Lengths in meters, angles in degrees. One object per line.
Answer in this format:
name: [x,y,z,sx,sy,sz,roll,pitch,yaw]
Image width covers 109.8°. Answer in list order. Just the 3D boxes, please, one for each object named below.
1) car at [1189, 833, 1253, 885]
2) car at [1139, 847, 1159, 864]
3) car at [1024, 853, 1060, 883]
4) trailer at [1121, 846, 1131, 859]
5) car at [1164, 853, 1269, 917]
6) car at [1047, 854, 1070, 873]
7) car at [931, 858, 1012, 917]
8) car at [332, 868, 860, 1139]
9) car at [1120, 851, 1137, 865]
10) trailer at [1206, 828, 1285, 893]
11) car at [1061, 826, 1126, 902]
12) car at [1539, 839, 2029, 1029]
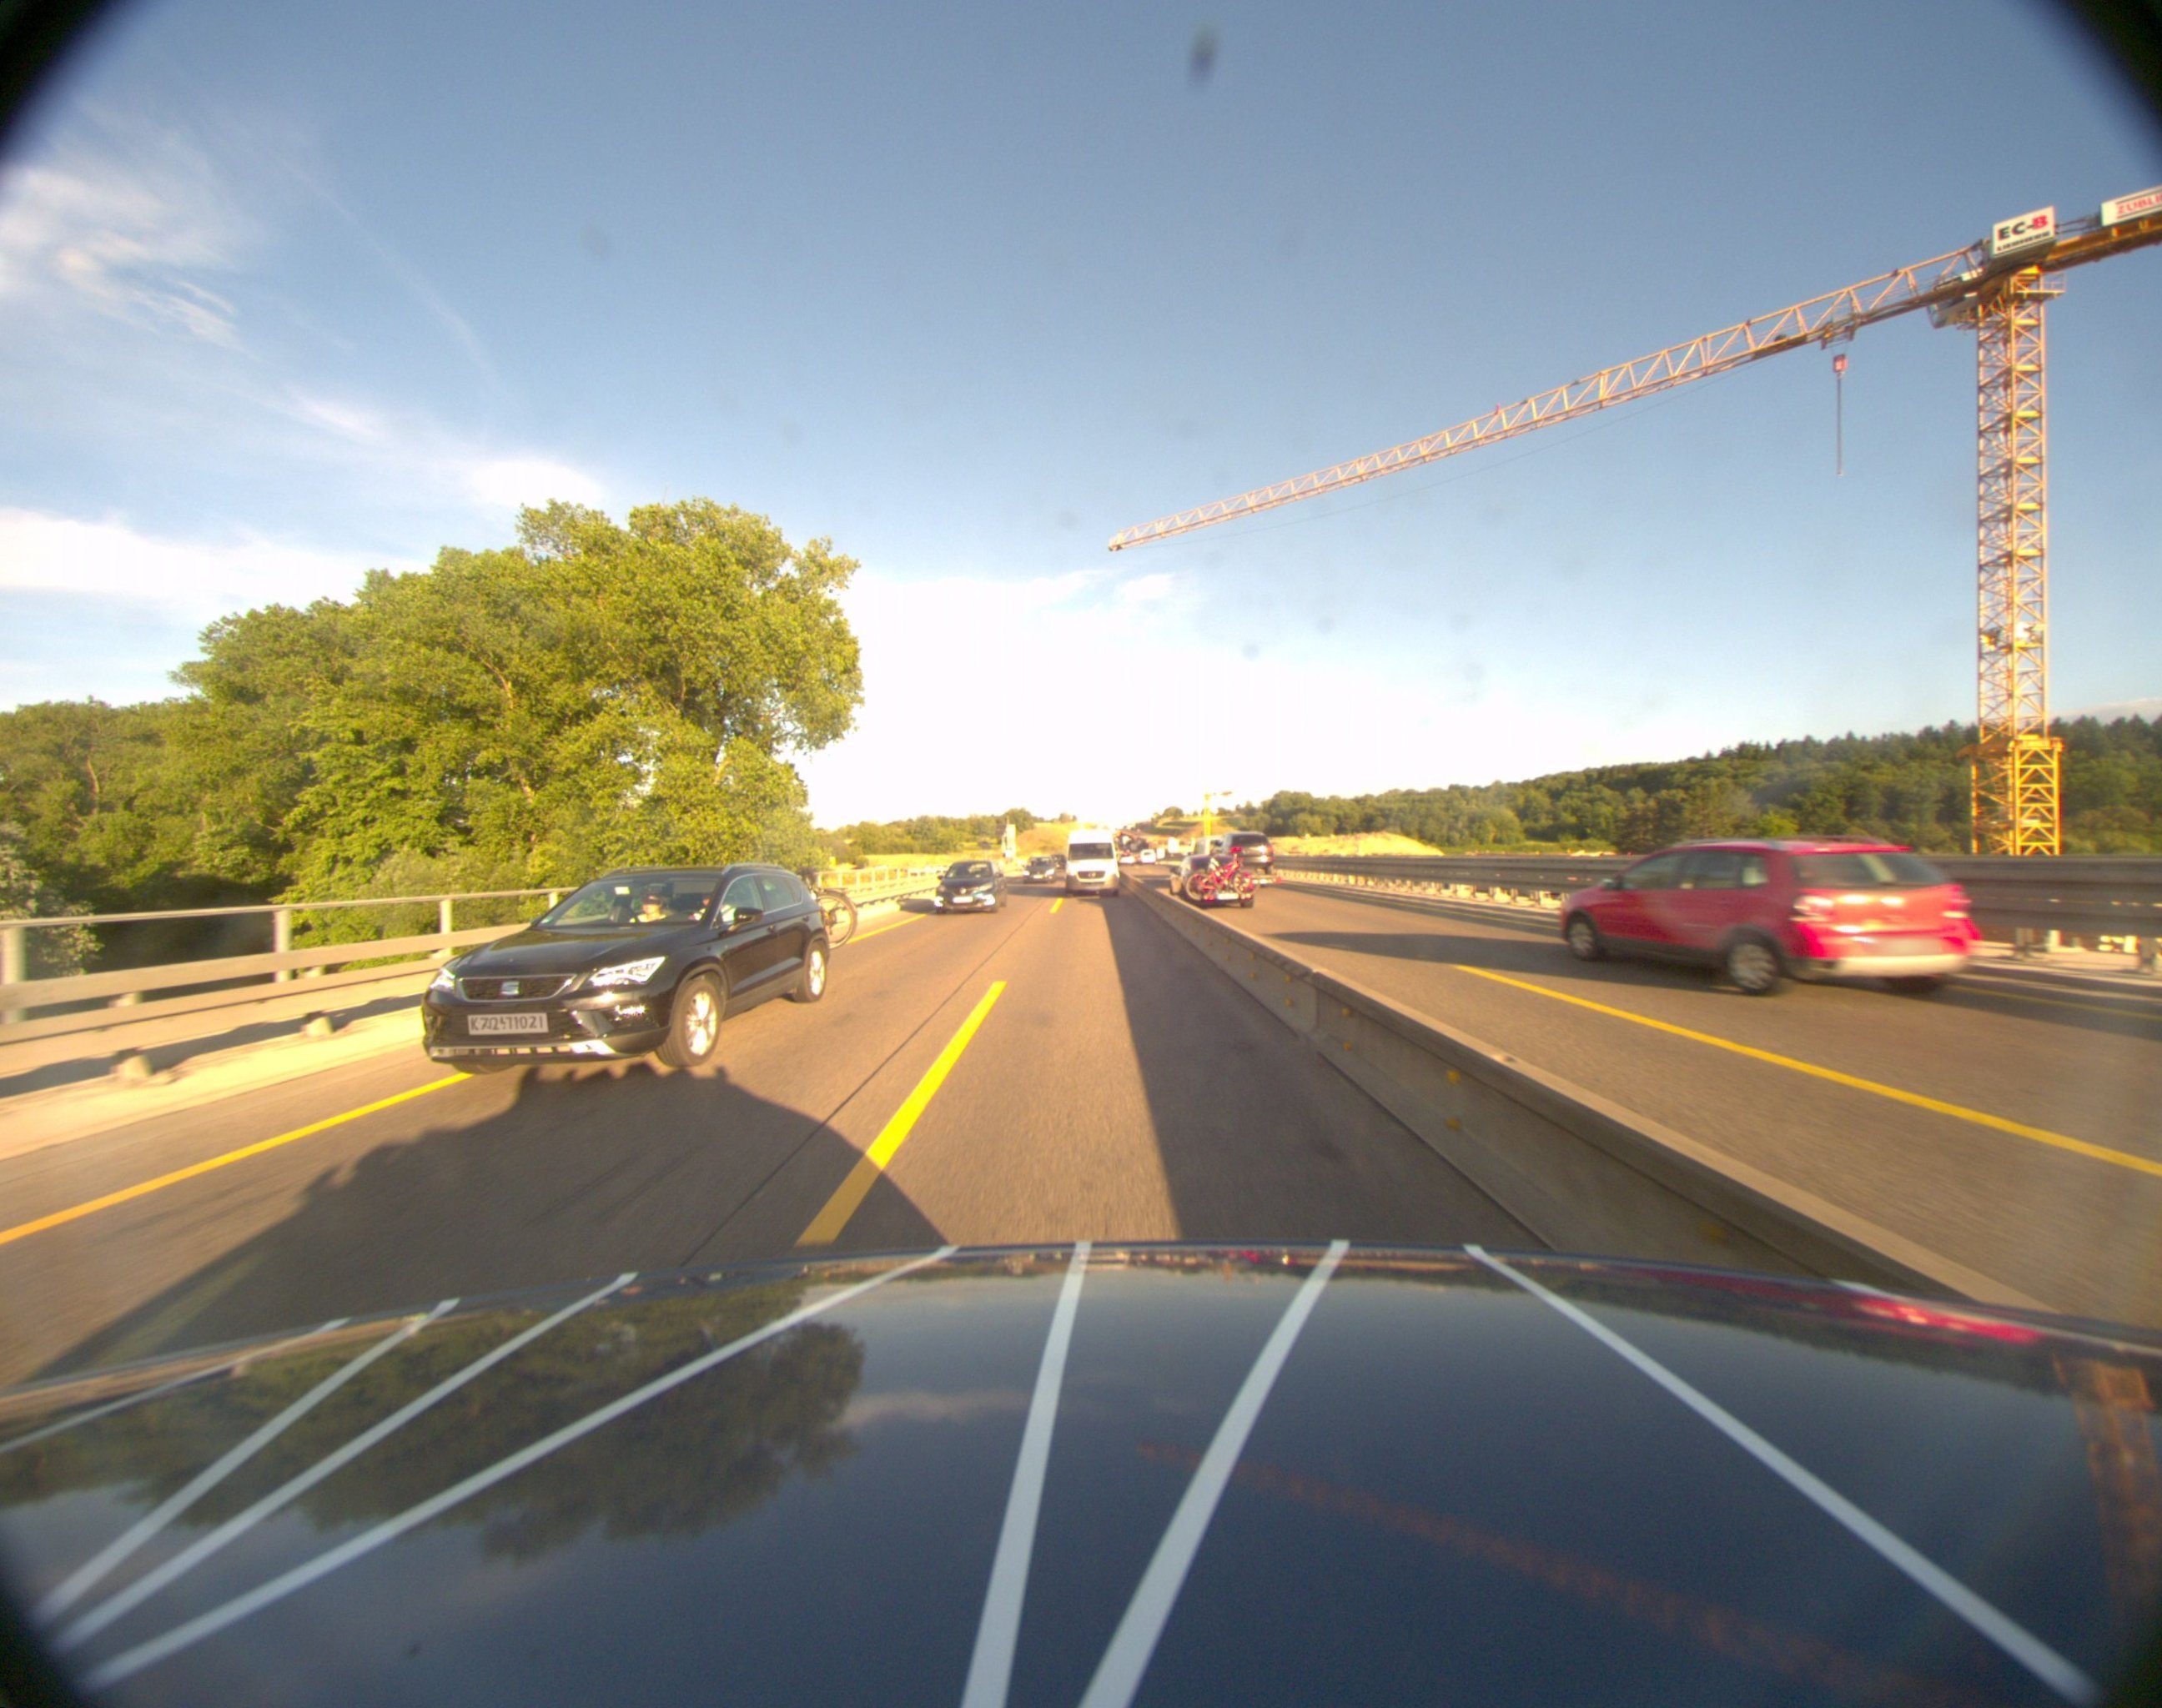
car: [6.767,0.218,37.397,1.998,2.310,5.934,-2,0,0]
car: [8.332,0.155,93.223,1.998,1.845,4.282,-5,0,0]
car: [-2.292,0.800,45.549,1.817,1.606,4.526,-4,0,0]
trailer: [14.249,-0.482,240.707,2.821,4.026,14.024,-1,0,2]
car: [3.669,0.774,21.729,1.998,1.521,5.781,-2,0,1]
car: [-2.105,0.870,72.635,1.902,1.703,4.888,-2,0,1]
car: [-3.233,0.949,23.196,1.778,1.576,4.135,-2,-1,1]
car: [-3.851,1.018,7.394,1.880,1.590,4.965,-2,0,0]
car: [5.697,0.469,91.161,1.843,1.630,4.000,-1,0,1]
trailer: [6.754,0.244,31.777,2.082,2.406,5.219,-2,0,0]
car: [0.514,0.367,28.449,2.109,2.518,5.221,-2,0,2]
car: [7.095,0.665,8.379,1.621,1.543,4.088,-2,0,0]
